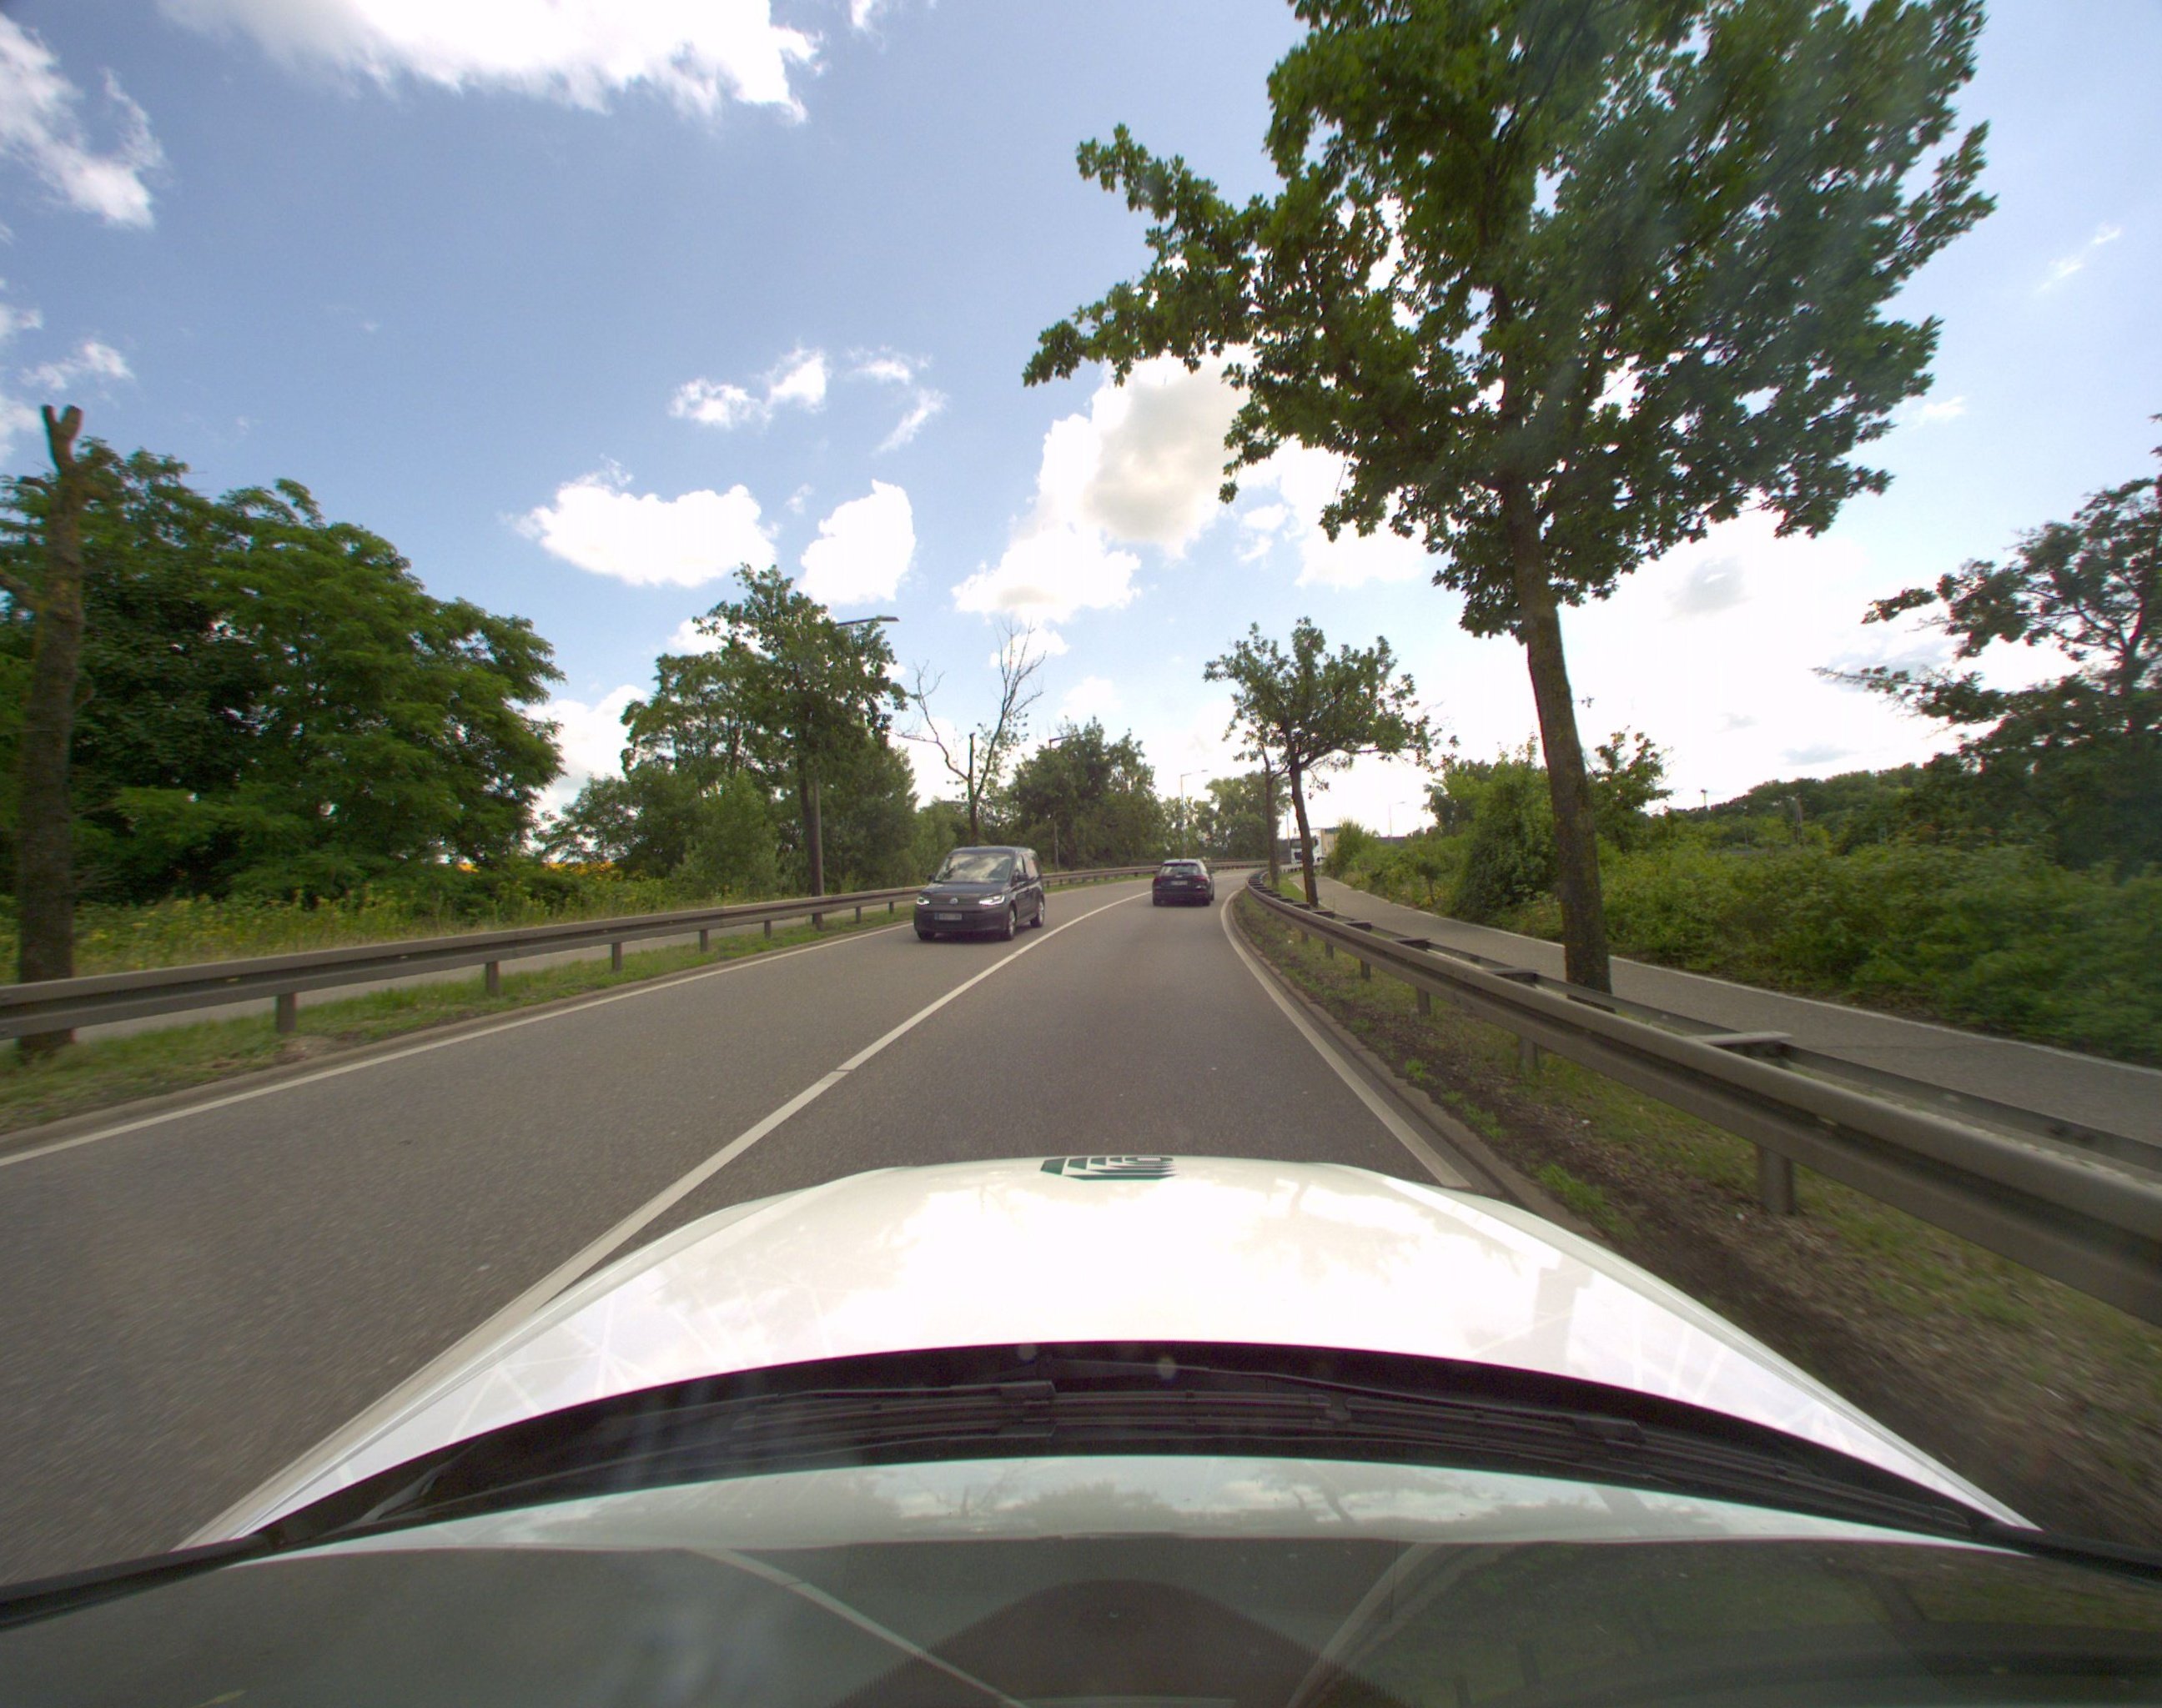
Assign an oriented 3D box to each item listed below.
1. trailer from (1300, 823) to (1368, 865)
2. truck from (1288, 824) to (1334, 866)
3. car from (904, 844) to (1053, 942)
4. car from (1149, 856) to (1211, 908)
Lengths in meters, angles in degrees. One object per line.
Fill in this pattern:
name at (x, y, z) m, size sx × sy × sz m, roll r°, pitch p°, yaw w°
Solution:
trailer at (28.365, -1.059, 90.744) m, size 2.680 × 4.280 × 14.322 m, roll -1°, pitch 0°, yaw 36°
truck at (23.886, -0.933, 84.547) m, size 2.734 × 4.134 × 5.689 m, roll -1°, pitch 0°, yaw 36°
car at (-1.911, 0.684, 16.578) m, size 1.841 × 1.709 × 4.323 m, roll 0°, pitch 0°, yaw 9°
car at (3.171, 0.854, 26.523) m, size 1.819 × 1.491 × 4.213 m, roll 0°, pitch 0°, yaw 5°
